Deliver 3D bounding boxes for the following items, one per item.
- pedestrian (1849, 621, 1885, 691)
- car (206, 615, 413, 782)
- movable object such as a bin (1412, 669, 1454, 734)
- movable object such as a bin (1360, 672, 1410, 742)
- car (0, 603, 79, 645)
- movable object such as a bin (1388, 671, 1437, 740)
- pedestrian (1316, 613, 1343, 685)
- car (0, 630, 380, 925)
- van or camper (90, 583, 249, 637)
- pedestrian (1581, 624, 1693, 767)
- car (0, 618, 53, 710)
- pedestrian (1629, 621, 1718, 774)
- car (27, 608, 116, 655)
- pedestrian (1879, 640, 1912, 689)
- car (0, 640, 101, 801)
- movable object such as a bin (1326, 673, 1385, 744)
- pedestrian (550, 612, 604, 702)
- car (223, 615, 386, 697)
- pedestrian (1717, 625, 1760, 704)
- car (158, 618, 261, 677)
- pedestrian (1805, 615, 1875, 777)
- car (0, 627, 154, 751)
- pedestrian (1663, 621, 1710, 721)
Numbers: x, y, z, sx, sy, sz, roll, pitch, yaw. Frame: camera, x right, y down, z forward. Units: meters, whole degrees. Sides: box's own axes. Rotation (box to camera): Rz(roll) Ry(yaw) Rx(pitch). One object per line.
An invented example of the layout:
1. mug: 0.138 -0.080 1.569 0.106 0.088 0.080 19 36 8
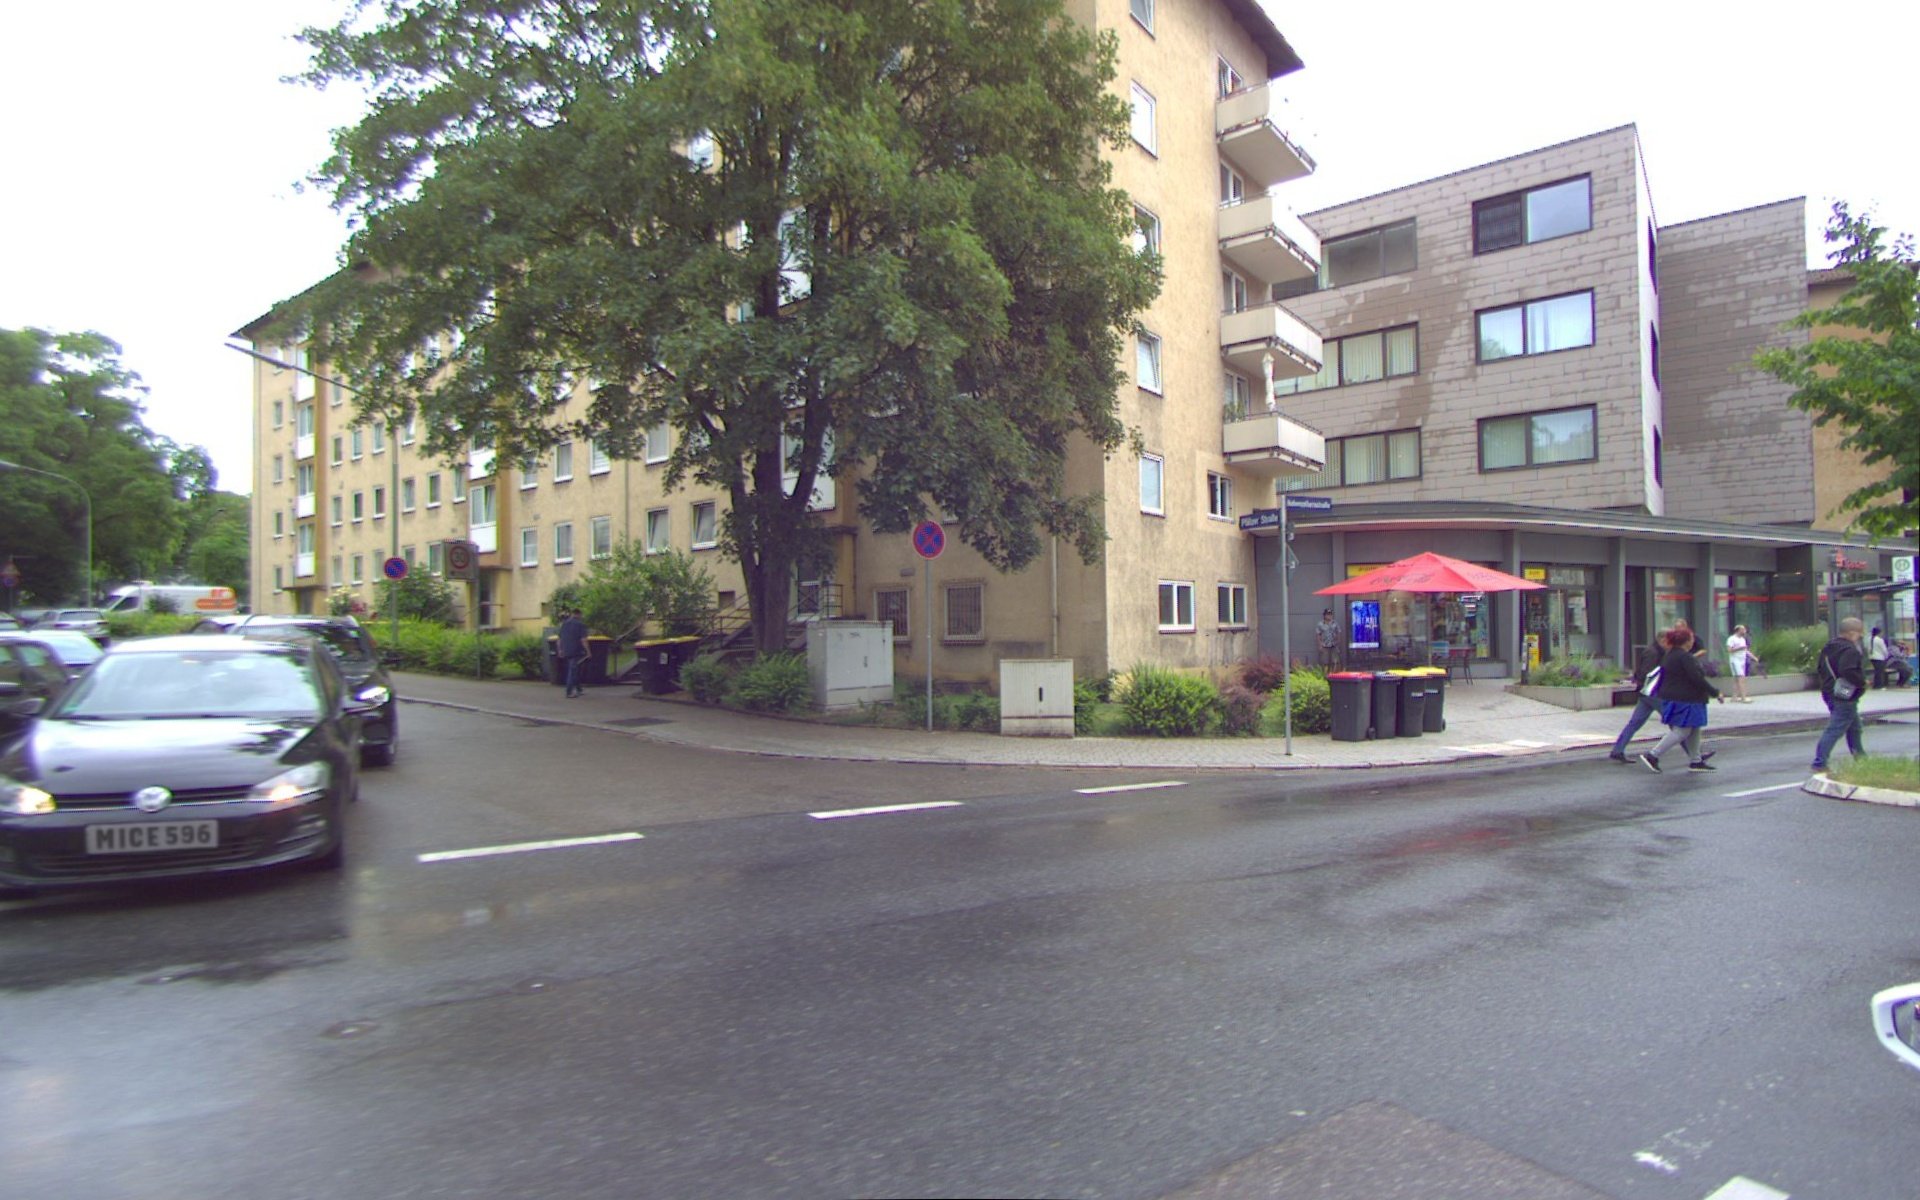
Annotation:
1. pedestrian: 23.159 1.432 25.648 0.462 1.732 0.539 3 0 -35
2. car: -7.379 1.039 11.720 1.673 1.602 3.793 3 -3 -29
3. movable object such as a bin: 8.082 1.725 17.167 0.530 1.085 0.472 1 -3 8
4. movable object such as a bin: 6.934 1.737 16.385 0.599 1.095 0.488 3 -4 -29
5. car: -38.699 0.988 42.163 3.551 1.528 1.797 3 0 36
6. movable object such as a bin: 7.506 1.744 16.675 0.599 1.095 0.488 3 -4 -29
7. pedestrian: 9.527 1.254 25.896 0.623 1.840 0.638 -1 -2 23
8. car: -5.141 0.982 7.063 1.722 1.408 3.799 3 -2 -29
9. van or camper: -42.885 0.590 54.708 2.250 2.668 6.347 3 -1 30
10. pedestrian: 8.801 1.198 13.078 0.708 1.754 1.054 1 -1 -38
11. car: -16.967 1.023 16.966 3.776 1.459 1.705 0 -2 37
12. pedestrian: 8.422 1.135 11.862 0.731 1.731 0.677 -4 -4 40
13. car: -33.491 1.183 37.833 3.551 1.528 1.797 3 0 37
14. pedestrian: 24.748 1.708 26.573 0.538 1.247 0.463 3 0 -28
15. car: -9.500 1.056 9.027 1.720 1.408 3.804 3 -3 -26
16. movable object such as a bin: 6.328 1.732 16.091 0.722 1.095 0.551 3 -4 -29
17. pedestrian: -7.646 1.120 20.071 0.618 1.705 0.814 3 2 41
18. car: -14.855 1.202 22.732 3.545 1.528 1.685 3 2 30
19. pedestrian: 17.514 1.438 22.611 0.648 1.728 0.660 3 0 33
20. car: -19.299 1.164 25.783 3.315 1.238 1.488 3 2 41
21. pedestrian: 9.724 1.055 11.113 0.459 1.731 0.542 -5 -5 40
22. car: -12.783 1.112 13.749 4.165 1.439 1.705 0 -2 37
23. pedestrian: 13.686 1.326 18.919 0.462 1.813 0.539 3 0 -38
